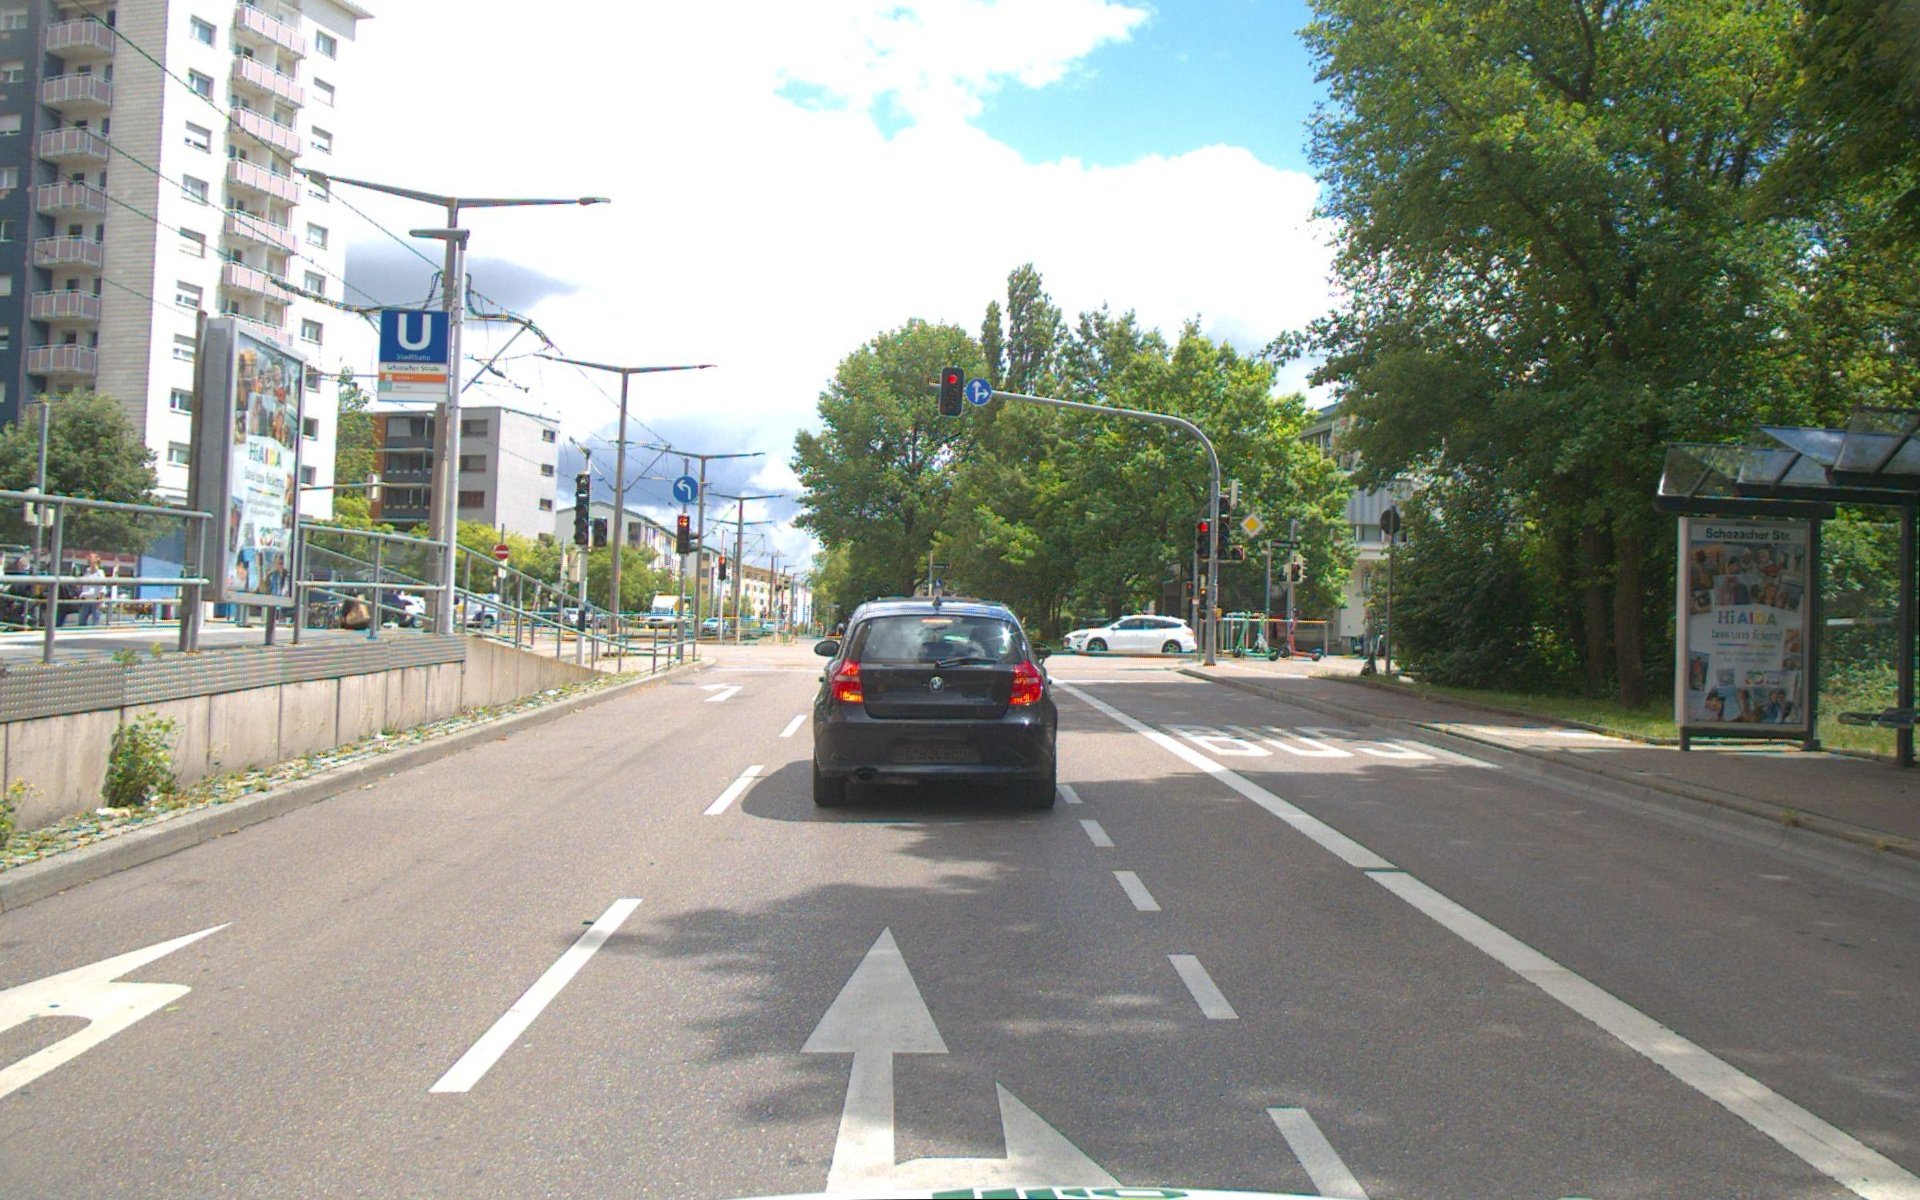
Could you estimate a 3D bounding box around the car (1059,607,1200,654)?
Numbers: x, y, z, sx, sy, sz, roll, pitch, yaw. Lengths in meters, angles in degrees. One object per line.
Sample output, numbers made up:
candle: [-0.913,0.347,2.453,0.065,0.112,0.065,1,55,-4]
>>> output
car: [5.855,1.056,57.188,4.491,1.553,1.939,1,0,-12]

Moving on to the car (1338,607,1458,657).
car: [14.682,1.069,55.473,3.515,1.628,1.706,1,0,-13]

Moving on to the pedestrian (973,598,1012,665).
pedestrian: [0.723,0.689,36.590,0.847,1.468,0.799,1,0,1]

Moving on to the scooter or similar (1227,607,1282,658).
scooter or similar: [7.137,0.786,40.055,1.267,1.210,0.383,1,0,-17]

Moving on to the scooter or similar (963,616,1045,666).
scooter or similar: [0.952,0.889,36.075,1.745,1.069,0.410,1,0,-5]

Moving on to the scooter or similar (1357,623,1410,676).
scooter or similar: [9.134,1.063,35.667,1.133,1.118,0.329,1,0,-25]

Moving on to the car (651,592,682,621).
car: [-27.537,0.589,155.094,2.096,2.686,5.356,1,0,-2]

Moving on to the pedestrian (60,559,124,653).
pedestrian: [-16.213,0.108,30.899,0.665,1.736,0.827,1,0,10]

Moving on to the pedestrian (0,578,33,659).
pedestrian: [-16.151,0.308,28.036,0.656,1.366,0.551,1,0,41]

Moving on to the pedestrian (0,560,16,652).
pedestrian: [-17.150,0.097,29.062,0.595,1.611,0.775,1,0,10]

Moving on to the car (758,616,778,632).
car: [-21.208,2.611,182.770,1.927,1.624,3.997,1,0,-3]

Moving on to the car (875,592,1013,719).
car: [-0.190,0.630,20.734,1.562,1.443,3.516,1,0,0]

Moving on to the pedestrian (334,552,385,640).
pedestrian: [-11.488,-0.076,31.655,0.686,1.661,0.638,0,0,7]

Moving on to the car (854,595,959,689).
car: [-0.903,0.653,27.581,1.621,1.443,3.515,1,0,-3]

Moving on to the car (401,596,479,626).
car: [-26.621,0.560,84.748,3.537,1.488,1.613,1,0,-10]

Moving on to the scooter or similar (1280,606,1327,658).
scooter or similar: [8.506,0.797,40.967,1.087,1.280,0.331,1,0,-13]

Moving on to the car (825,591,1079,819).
car: [-0.027,0.671,12.406,1.620,1.443,3.517,1,0,1]

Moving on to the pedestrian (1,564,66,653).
pedestrian: [-16.960,0.157,30.305,0.842,1.605,0.622,1,0,-9]

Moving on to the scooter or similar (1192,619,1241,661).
scooter or similar: [6.037,0.931,38.917,1.102,0.974,0.299,1,0,-17]

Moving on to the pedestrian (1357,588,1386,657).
pedestrian: [11.165,0.622,44.904,0.600,1.821,0.569,4,0,17]

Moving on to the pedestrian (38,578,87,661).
pedestrian: [-15.202,0.322,28.013,0.680,1.366,0.851,1,0,-31]
